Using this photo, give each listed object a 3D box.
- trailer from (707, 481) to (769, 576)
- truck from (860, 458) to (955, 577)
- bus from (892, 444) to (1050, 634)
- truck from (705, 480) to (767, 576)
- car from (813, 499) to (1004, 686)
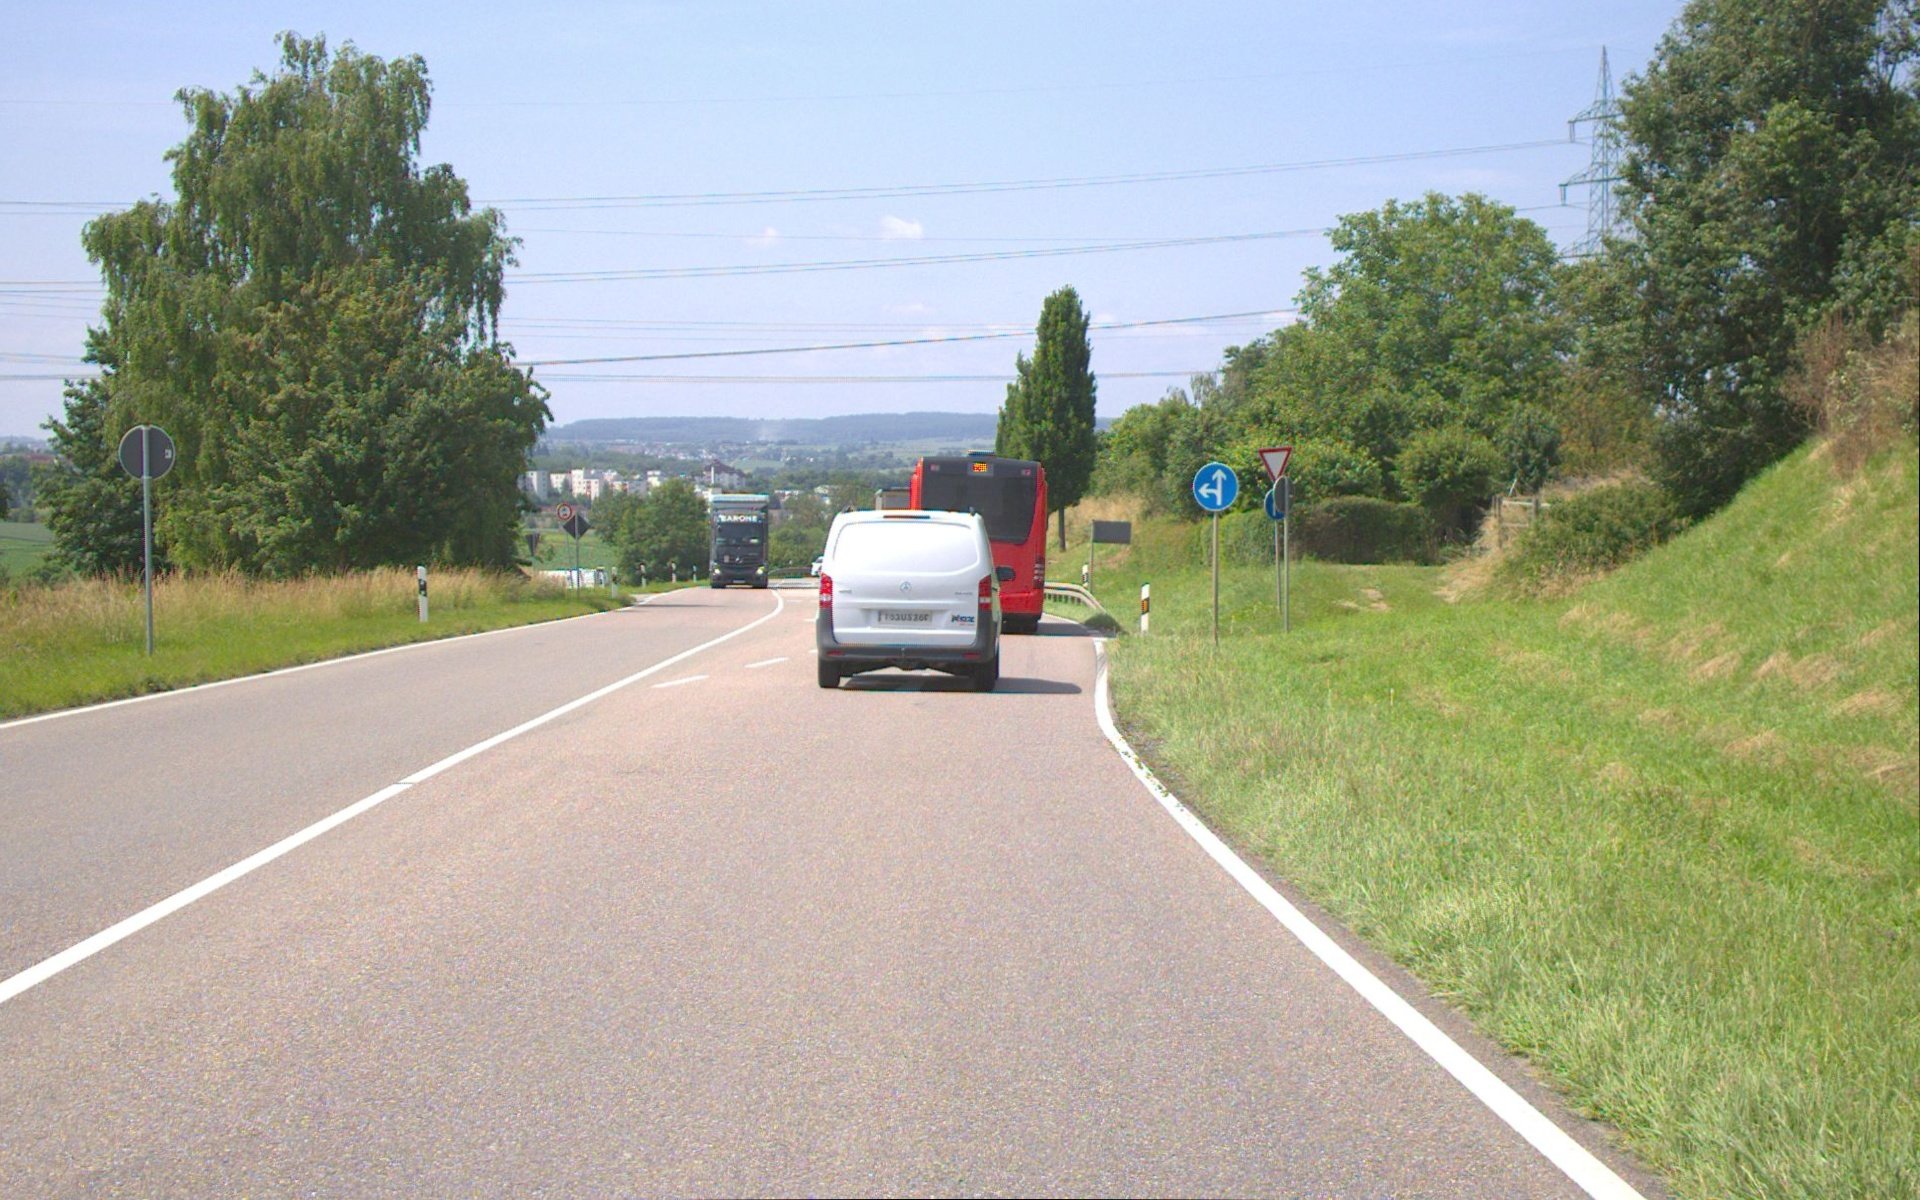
[{"bbox_3d":[-10.098,-3.212,157.187,2.592,4.128,13.743,1,1,-3],"label":"trailer"},{"bbox_3d":[-2.092,-3.208,135.837,3.488,4.408,14.904,-1,1,-1],"label":"truck"},{"bbox_3d":[0.182,-1.395,68.668,2.747,3.341,13.223,-2,3,0],"label":"bus"},{"bbox_3d":[-9.754,-3.112,150.172,2.585,4.090,5.442,1,1,-3],"label":"truck"},{"bbox_3d":[-0.526,-0.122,37.209,1.923,1.883,4.000,-1,1,0],"label":"car"}]
